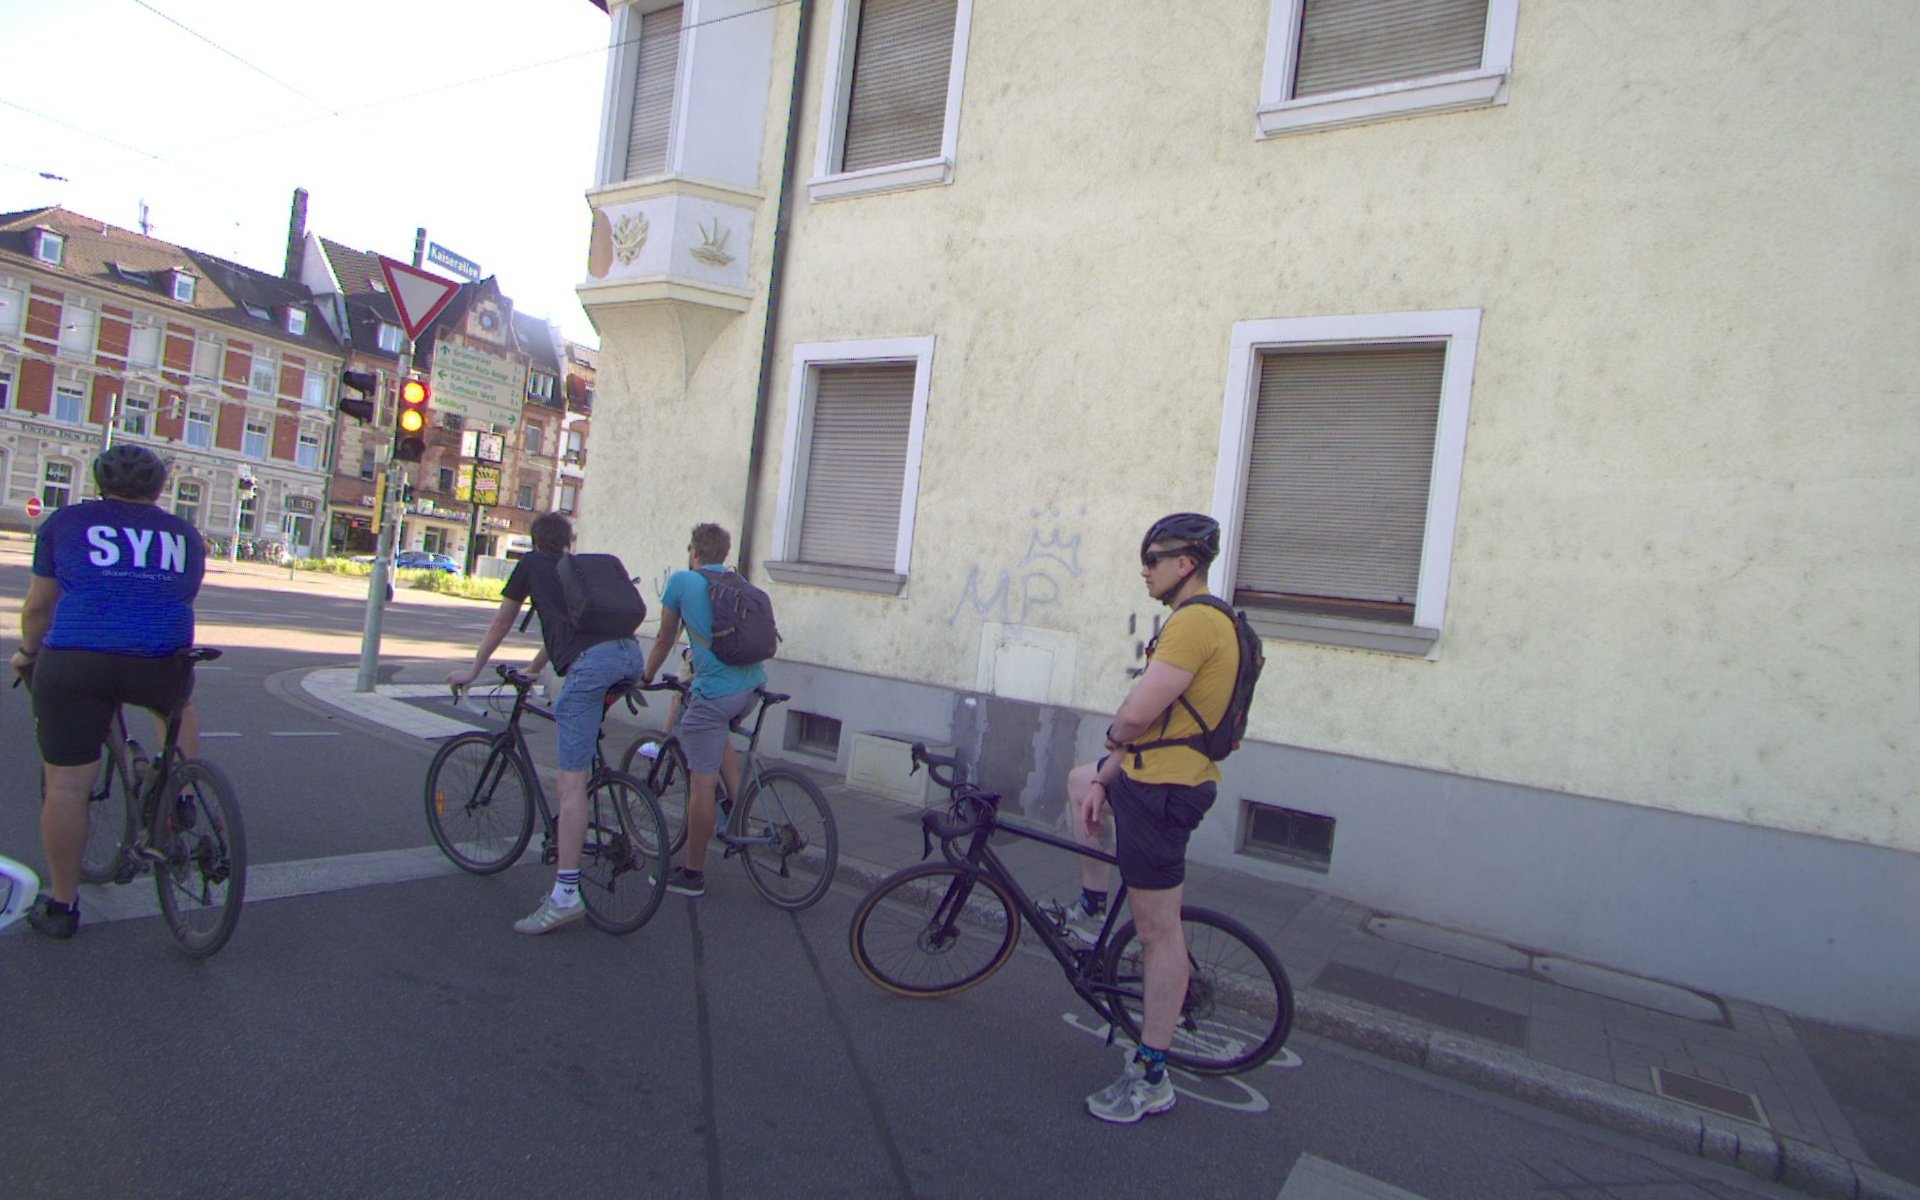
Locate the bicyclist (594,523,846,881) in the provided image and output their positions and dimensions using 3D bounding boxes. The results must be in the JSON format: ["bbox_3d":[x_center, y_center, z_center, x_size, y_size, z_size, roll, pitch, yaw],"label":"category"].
[{"bbox_3d":[-1.248,0.496,5.256,0.869,1.652,0.690,6,-1,34],"label":"bicyclist"}]

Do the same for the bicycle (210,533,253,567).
[{"bbox_3d":[-33.826,-2.329,46.694,2.618,1.301,0.629,6,-1,33],"label":"bicycle"}]

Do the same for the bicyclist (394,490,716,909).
[{"bbox_3d":[-1.801,0.403,4.528,0.868,1.625,0.807,7,-1,30],"label":"bicyclist"}]

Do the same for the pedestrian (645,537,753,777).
[{"bbox_3d":[-2.033,0.428,7.894,0.631,1.780,0.584,4,3,-7],"label":"pedestrian"}]

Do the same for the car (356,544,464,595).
[{"bbox_3d":[-25.519,-1.389,46.819,1.967,1.798,3.790,6,-2,31],"label":"car"}]

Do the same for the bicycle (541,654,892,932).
[{"bbox_3d":[-1.305,0.920,5.251,1.742,1.043,0.650,6,-1,33],"label":"bicycle"}]

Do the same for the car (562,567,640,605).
[{"bbox_3d":[-23.240,-0.876,65.288,1.967,1.798,4.374,6,-2,31],"label":"car"}]

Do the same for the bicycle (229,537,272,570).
[{"bbox_3d":[-33.413,-2.215,47.365,2.618,1.301,0.629,6,-1,33],"label":"bicycle"}]

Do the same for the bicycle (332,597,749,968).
[{"bbox_3d":[-1.912,0.721,4.538,1.674,1.251,0.756,6,-1,30],"label":"bicycle"}]

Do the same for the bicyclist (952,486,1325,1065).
[{"bbox_3d":[0.648,0.525,3.528,0.869,1.682,0.807,6,-1,32],"label":"bicyclist"}]

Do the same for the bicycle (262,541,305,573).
[{"bbox_3d":[-32.676,-2.070,48.584,2.618,1.301,0.629,6,-1,33],"label":"bicycle"}]

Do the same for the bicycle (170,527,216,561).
[{"bbox_3d":[-34.628,-2.543,45.376,2.618,1.301,0.693,6,-1,33],"label":"bicycle"}]

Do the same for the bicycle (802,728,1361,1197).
[{"bbox_3d":[0.396,1.123,3.634,1.751,1.043,0.756,6,-2,33],"label":"bicycle"}]

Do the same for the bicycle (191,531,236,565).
[{"bbox_3d":[-34.192,-2.399,46.069,2.618,1.301,0.693,6,-1,33],"label":"bicycle"}]

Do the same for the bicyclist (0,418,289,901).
[{"bbox_3d":[-3.064,0.175,3.634,0.869,1.512,0.639,9,0,36],"label":"bicyclist"}]

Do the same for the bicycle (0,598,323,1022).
[{"bbox_3d":[-3.085,0.625,3.627,1.676,1.097,0.627,6,-1,35],"label":"bicycle"}]

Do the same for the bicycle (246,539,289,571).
[{"bbox_3d":[-33.046,-2.148,47.995,2.618,1.301,0.629,6,-1,33],"label":"bicycle"}]
